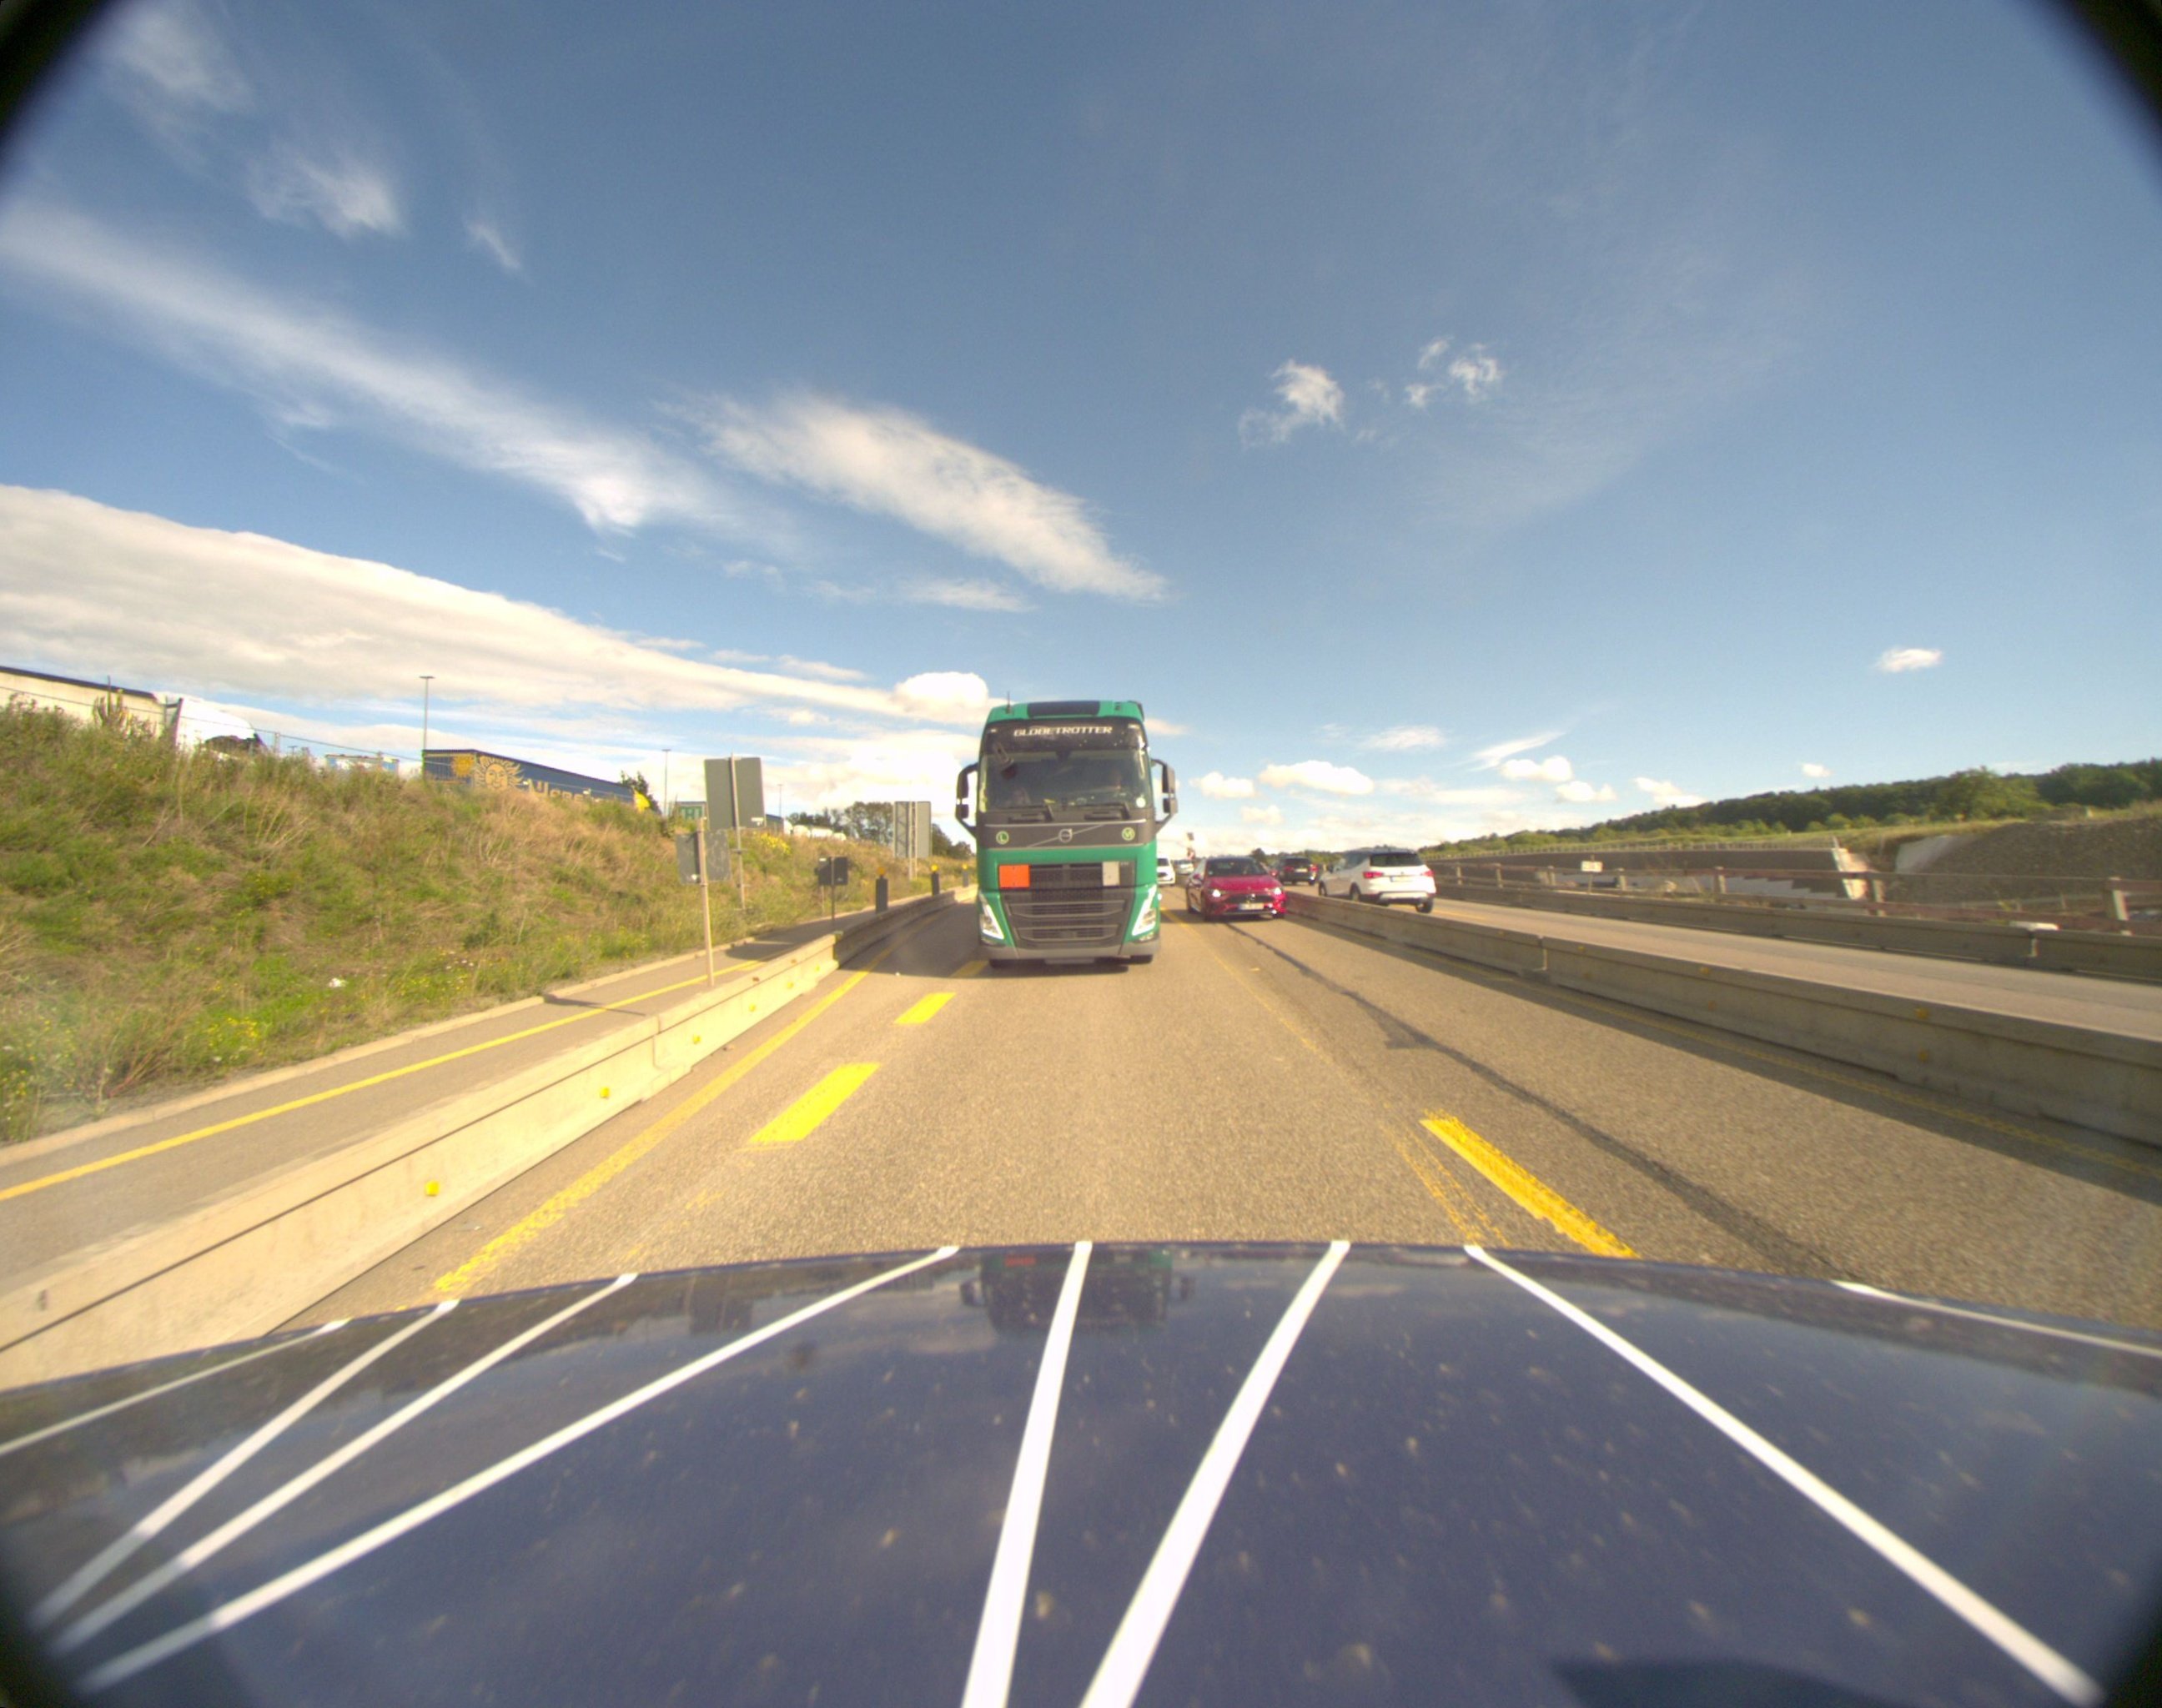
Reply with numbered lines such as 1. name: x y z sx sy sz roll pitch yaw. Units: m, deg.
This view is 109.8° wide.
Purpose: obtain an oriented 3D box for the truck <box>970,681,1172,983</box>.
1. truck: -0.200 -0.329 14.102 2.546 3.899 8.277 -2 1 -1

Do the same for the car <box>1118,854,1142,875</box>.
1. car: 3.846 0.782 59.102 1.718 1.499 4.001 -2 1 4

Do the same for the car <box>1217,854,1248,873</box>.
1. car: 12.075 0.717 60.873 1.827 1.483 4.001 0 0 3

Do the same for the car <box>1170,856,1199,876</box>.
1. car: 8.084 0.884 59.698 1.827 1.483 4.000 0 0 1

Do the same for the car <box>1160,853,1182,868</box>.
1. car: 9.082 0.651 76.896 1.827 1.483 4.000 0 0 1

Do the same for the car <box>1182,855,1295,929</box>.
1. car: 3.659 0.810 18.534 1.827 1.483 4.684 -3 0 1

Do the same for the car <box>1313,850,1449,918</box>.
1. car: 7.213 0.654 18.711 1.827 1.483 4.000 0 0 1

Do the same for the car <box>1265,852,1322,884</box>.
1. car: 10.549 0.667 37.947 1.827 1.483 4.325 0 0 3

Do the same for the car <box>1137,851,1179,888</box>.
1. car: 4.113 0.795 40.975 1.827 1.813 4.456 -3 0 1
